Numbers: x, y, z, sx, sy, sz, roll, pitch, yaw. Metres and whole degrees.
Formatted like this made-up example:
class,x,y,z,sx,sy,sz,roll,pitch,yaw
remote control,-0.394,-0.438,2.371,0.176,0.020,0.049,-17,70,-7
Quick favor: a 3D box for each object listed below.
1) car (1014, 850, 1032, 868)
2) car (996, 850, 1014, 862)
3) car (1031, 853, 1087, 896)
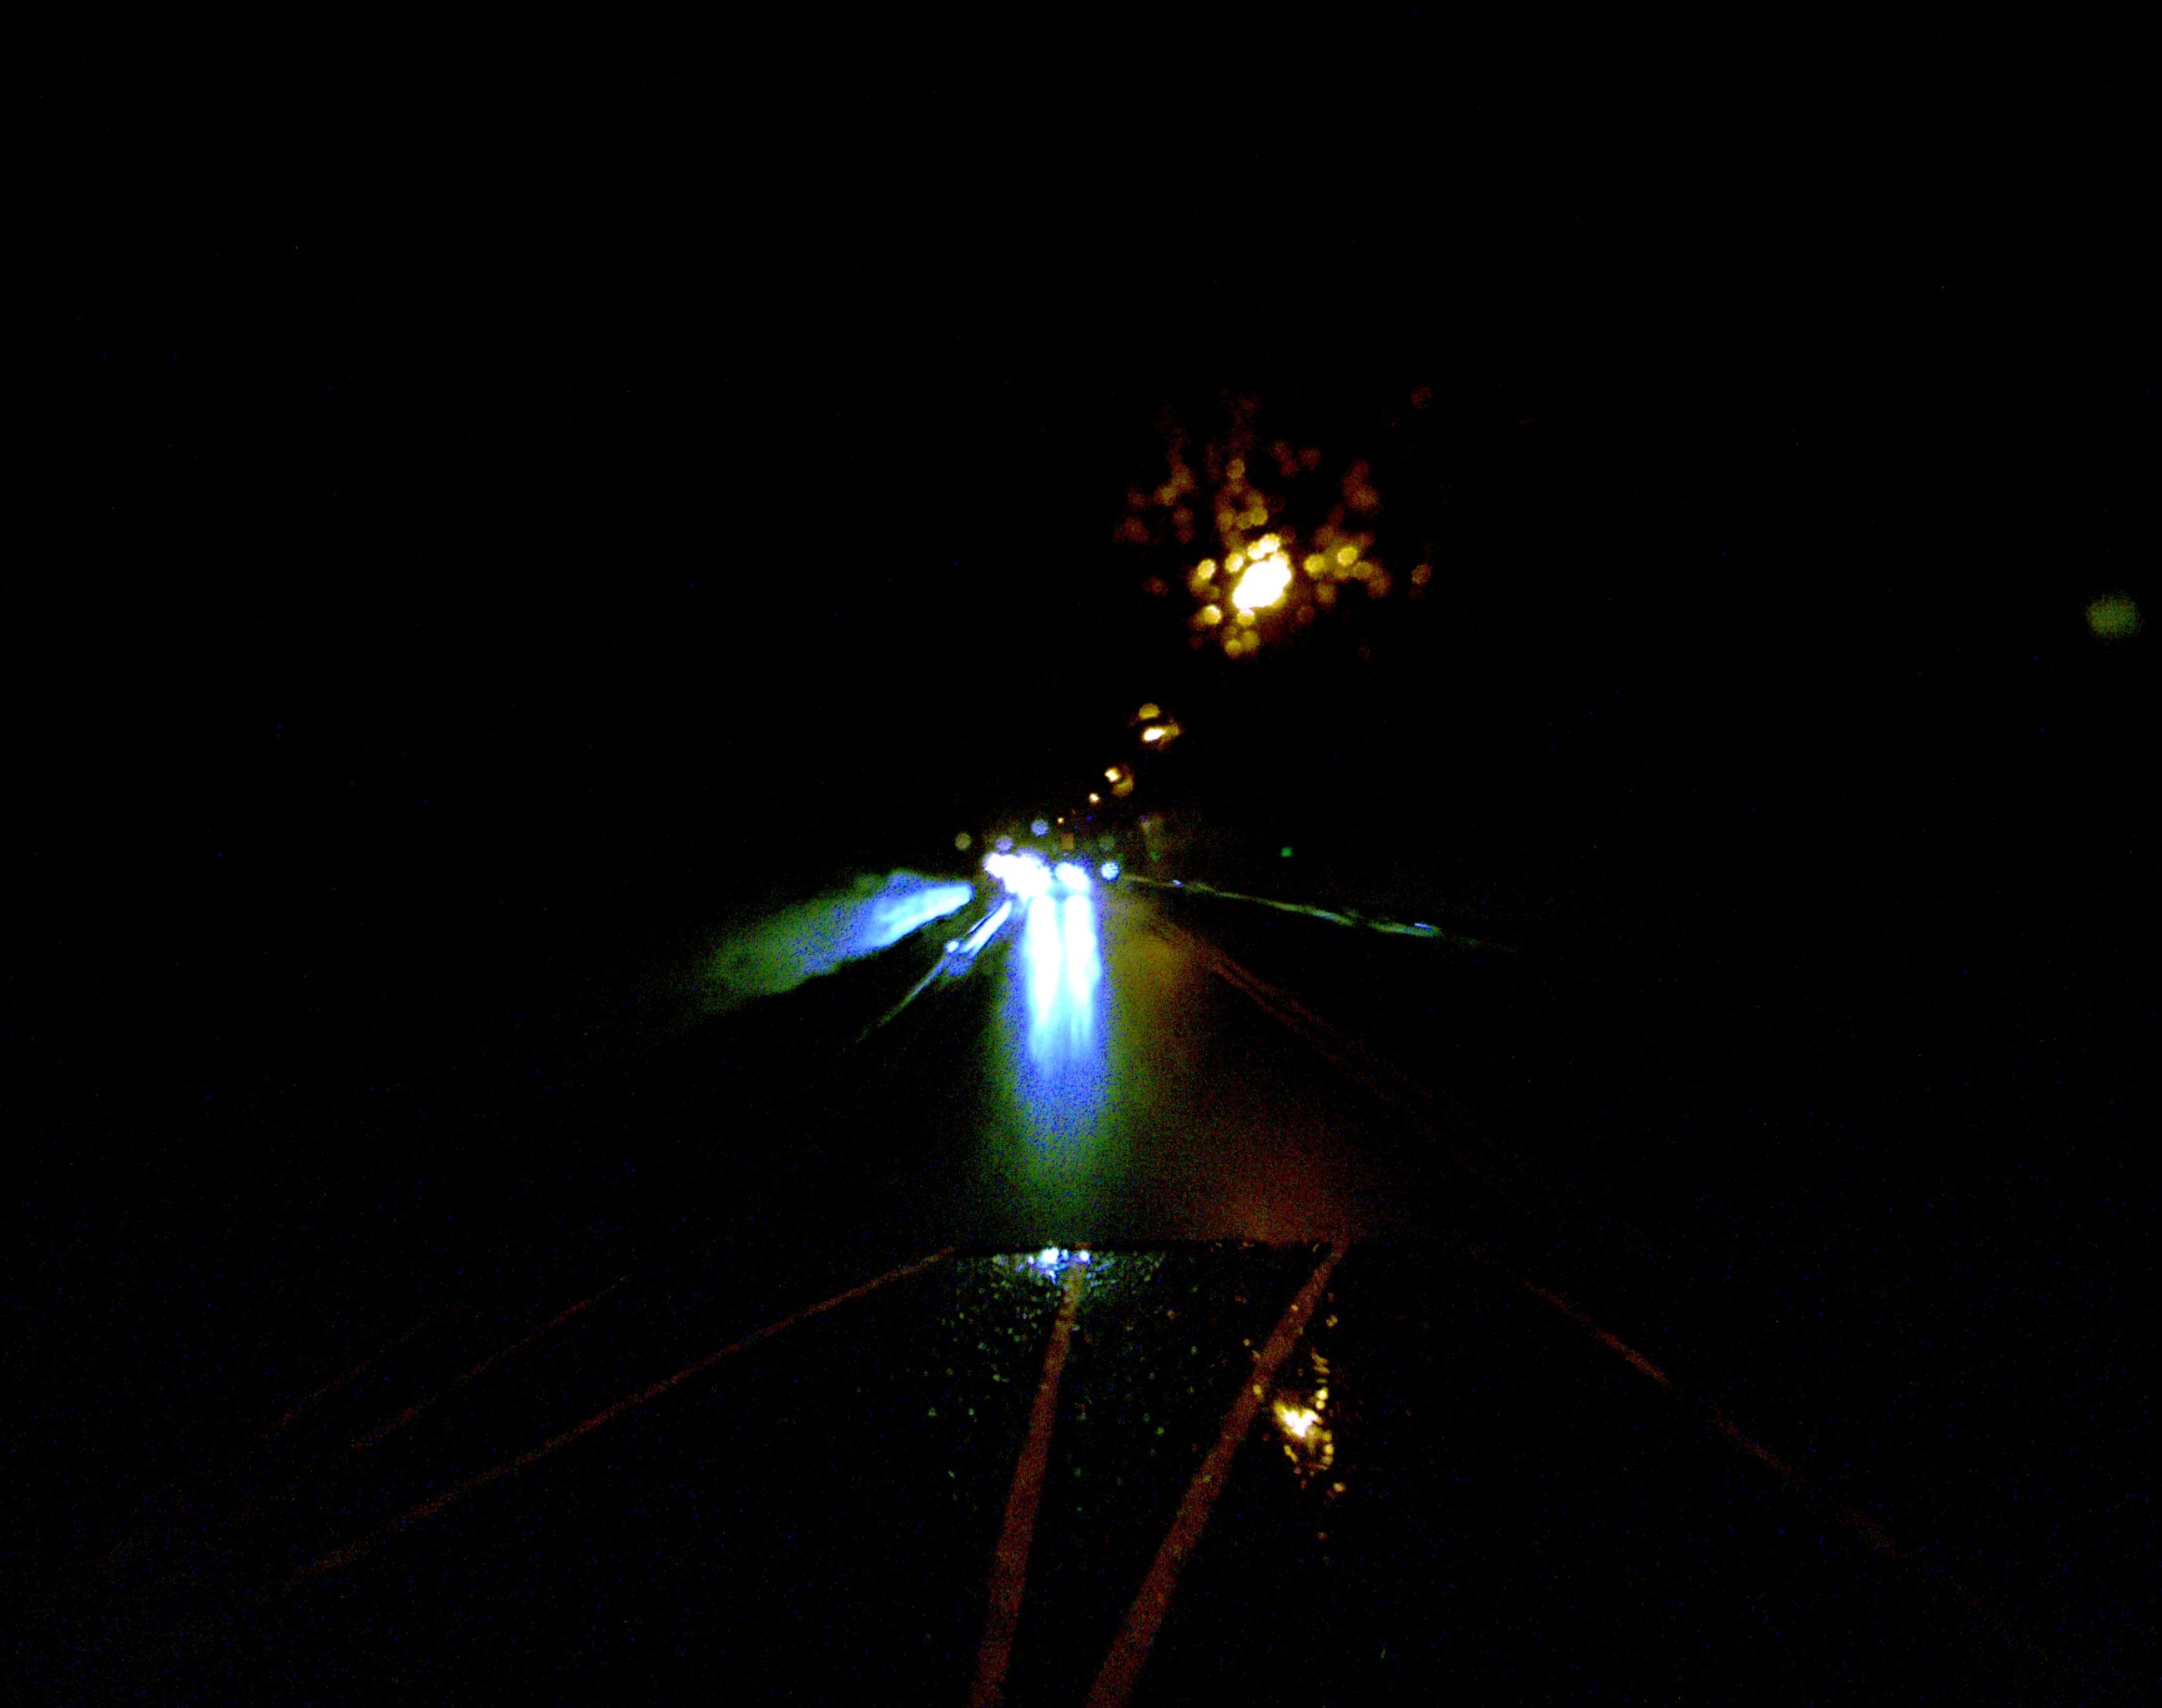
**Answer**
class,x,y,z,sx,sy,sz,roll,pitch,yaw
car,-6.718,0.566,88.402,1.899,2.002,3.999,-1,1,-1
car,-10.923,0.275,109.574,1.711,1.762,3.993,-2,1,-18
car,-1.039,0.828,32.801,1.999,1.585,4.605,-3,1,-6
